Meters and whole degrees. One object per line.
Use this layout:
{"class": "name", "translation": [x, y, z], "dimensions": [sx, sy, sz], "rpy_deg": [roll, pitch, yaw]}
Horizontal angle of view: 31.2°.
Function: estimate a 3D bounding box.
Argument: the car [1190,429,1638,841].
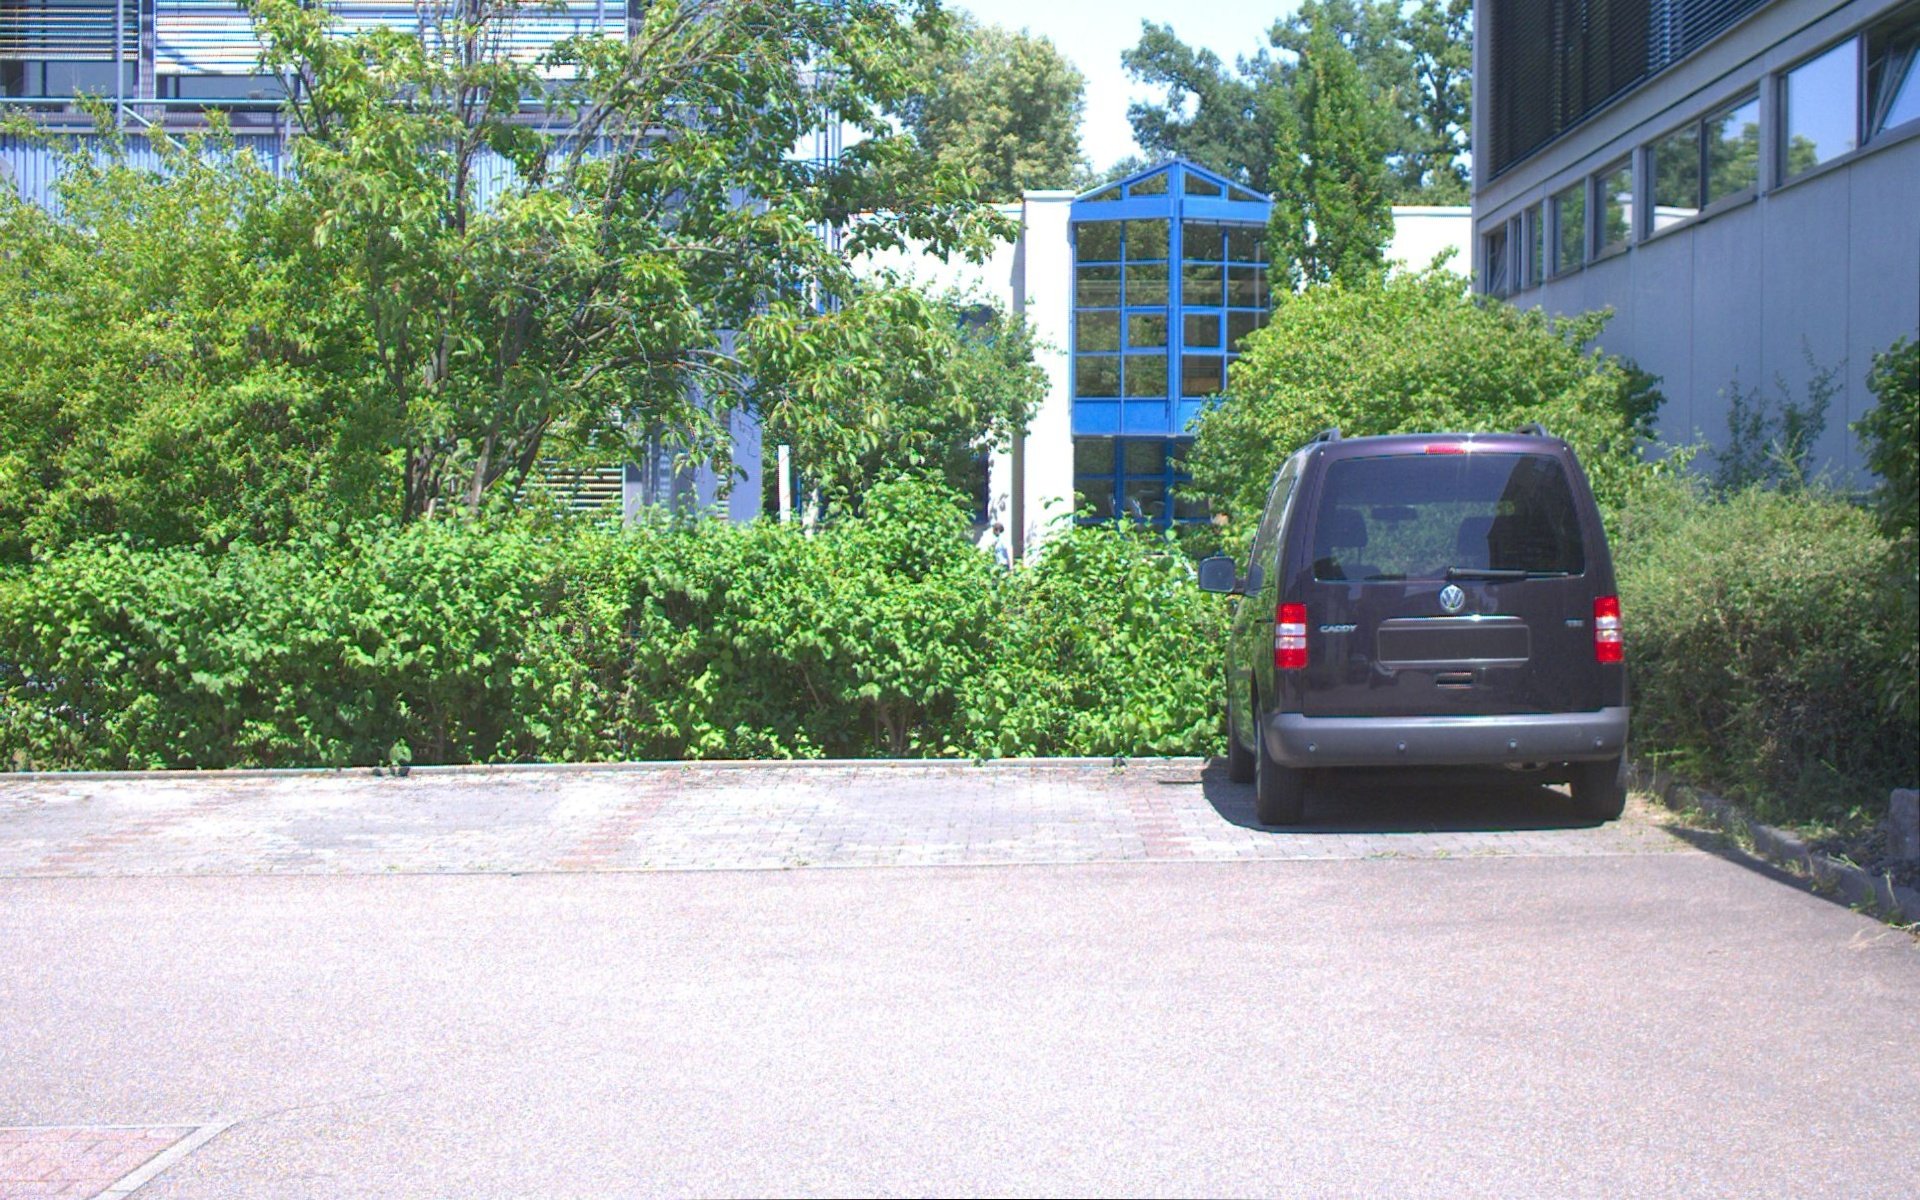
{"class": "car", "translation": [2.179, 0.102, 17.488], "dimensions": [1.743, 1.830, 4.000], "rpy_deg": [-1, 2, 0]}
